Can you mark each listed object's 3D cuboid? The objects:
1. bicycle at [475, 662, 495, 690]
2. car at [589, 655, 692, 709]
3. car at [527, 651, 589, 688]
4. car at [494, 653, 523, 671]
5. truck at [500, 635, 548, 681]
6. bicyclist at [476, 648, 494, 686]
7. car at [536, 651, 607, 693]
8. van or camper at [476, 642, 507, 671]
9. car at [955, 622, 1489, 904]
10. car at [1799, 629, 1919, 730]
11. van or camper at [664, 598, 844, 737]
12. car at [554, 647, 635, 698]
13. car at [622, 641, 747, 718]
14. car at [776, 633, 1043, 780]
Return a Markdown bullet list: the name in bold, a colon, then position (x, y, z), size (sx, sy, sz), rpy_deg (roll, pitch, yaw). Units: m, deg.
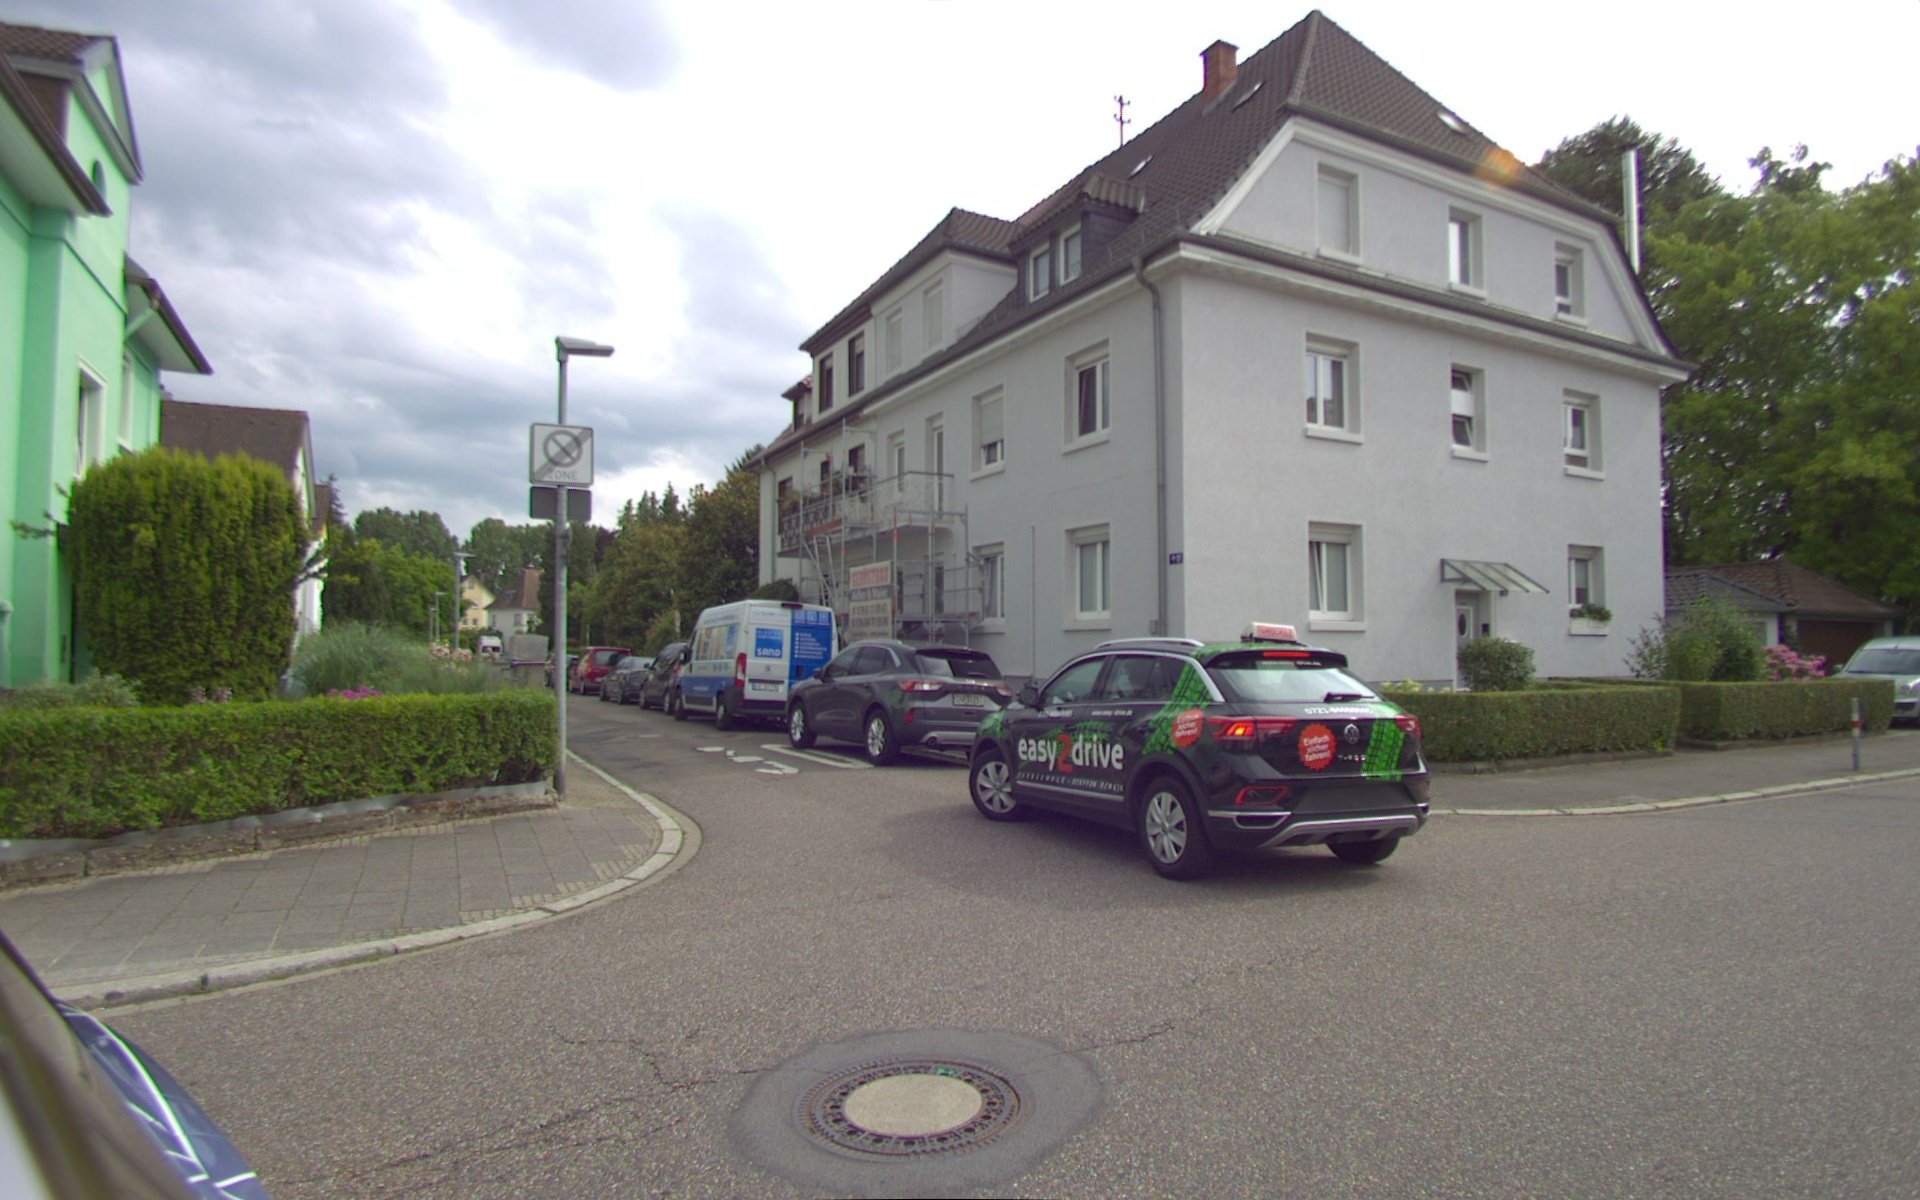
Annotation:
- **bicycle**: position (-21.118, 3.365, 45.004), size (0.695, 1.161, 1.879), rpy_deg (0, -3, -29)
- **car**: position (-9.650, 2.405, 30.394), size (1.966, 1.466, 4.354), rpy_deg (1, -3, -31)
- **car**: position (-18.705, 3.173, 46.942), size (1.966, 1.603, 4.354), rpy_deg (1, -3, -31)
- **car**: position (-35.565, 4.871, 79.714), size (1.795, 1.387, 4.012), rpy_deg (1, -3, -27)
- **truck**: position (-26.648, 3.504, 61.768), size (2.100, 2.678, 4.598), rpy_deg (1, -3, -31)
- **bicyclist**: position (-21.109, 2.970, 44.982), size (0.686, 1.679, 0.978), rpy_deg (0, -3, -28)
- **car**: position (-16.057, 2.933, 41.708), size (1.966, 1.603, 4.354), rpy_deg (1, -3, -31)
- **van or camper**: position (-42.010, 5.015, 90.660), size (2.111, 2.561, 5.030), rpy_deg (1, -3, -29)
- **car**: position (1.603, 1.043, 7.754), size (1.790, 1.532, 4.056), rpy_deg (2, -4, -24)
- **car**: position (19.055, 1.534, 20.265), size (3.931, 1.852, 2.006), rpy_deg (1, -3, -27)
- **van or camper**: position (-4.368, 1.333, 20.788), size (2.161, 2.478, 5.069), rpy_deg (1, -3, -29)
- **car**: position (-13.533, 2.603, 37.312), size (1.966, 1.763, 4.354), rpy_deg (1, -3, -31)
- **car**: position (-7.151, 1.971, 25.991), size (1.966, 1.785, 4.354), rpy_deg (1, -3, -31)
- **car**: position (-0.895, 1.377, 14.447), size (1.966, 1.740, 4.354), rpy_deg (1, -3, -31)
